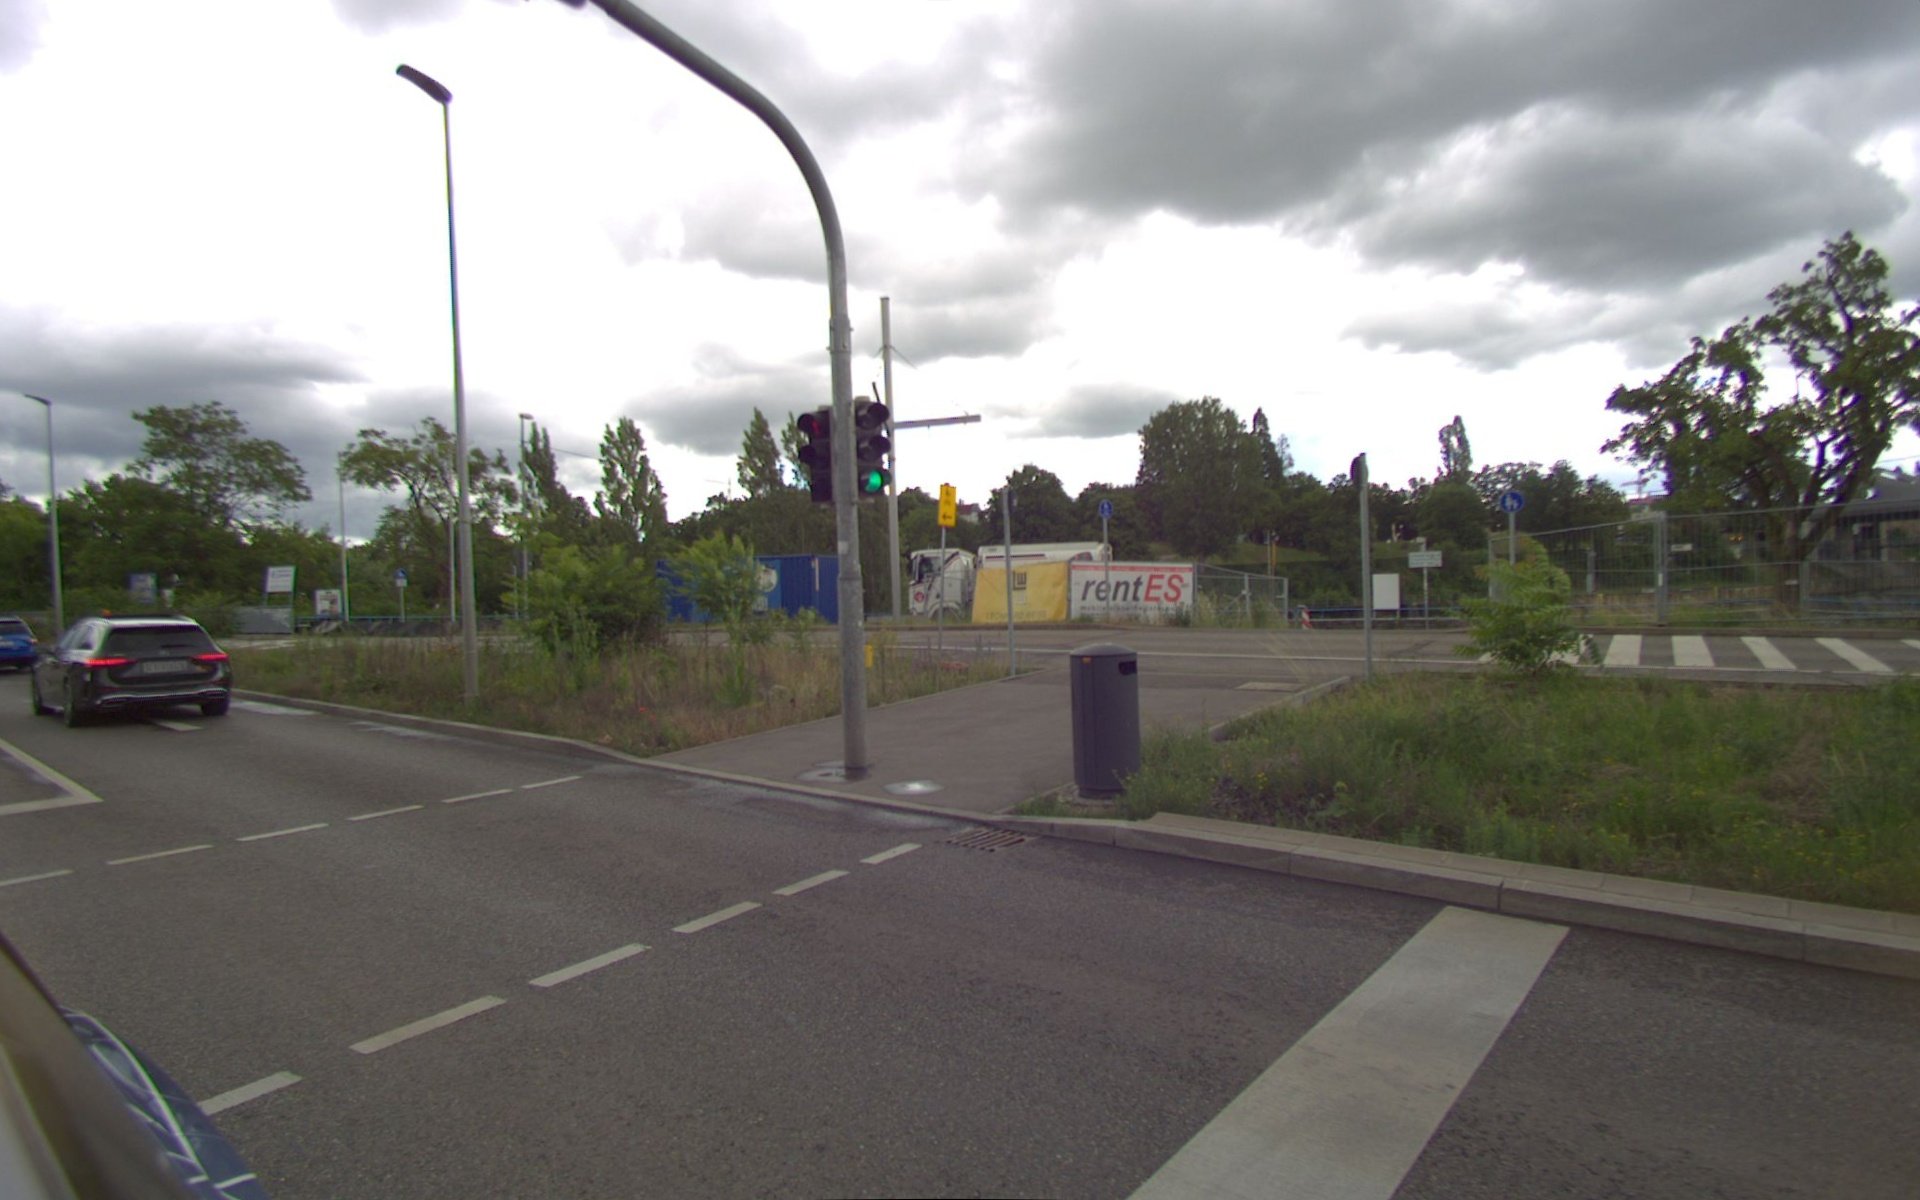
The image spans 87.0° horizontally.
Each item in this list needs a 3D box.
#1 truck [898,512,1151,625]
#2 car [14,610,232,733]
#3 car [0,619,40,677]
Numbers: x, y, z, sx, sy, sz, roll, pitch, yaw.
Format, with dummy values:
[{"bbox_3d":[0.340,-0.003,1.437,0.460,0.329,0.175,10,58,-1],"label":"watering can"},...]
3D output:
[{"bbox_3d":[2.296,-0.996,35.308,8.393,3.361,2.790,-3,-1,13],"label":"truck"},{"bbox_3d":[-12.423,0.939,14.920,4.441,1.540,1.713,-1,0,40],"label":"car"},{"bbox_3d":[-25.767,1.244,26.634,4.441,1.432,1.713,-1,0,40],"label":"car"}]
